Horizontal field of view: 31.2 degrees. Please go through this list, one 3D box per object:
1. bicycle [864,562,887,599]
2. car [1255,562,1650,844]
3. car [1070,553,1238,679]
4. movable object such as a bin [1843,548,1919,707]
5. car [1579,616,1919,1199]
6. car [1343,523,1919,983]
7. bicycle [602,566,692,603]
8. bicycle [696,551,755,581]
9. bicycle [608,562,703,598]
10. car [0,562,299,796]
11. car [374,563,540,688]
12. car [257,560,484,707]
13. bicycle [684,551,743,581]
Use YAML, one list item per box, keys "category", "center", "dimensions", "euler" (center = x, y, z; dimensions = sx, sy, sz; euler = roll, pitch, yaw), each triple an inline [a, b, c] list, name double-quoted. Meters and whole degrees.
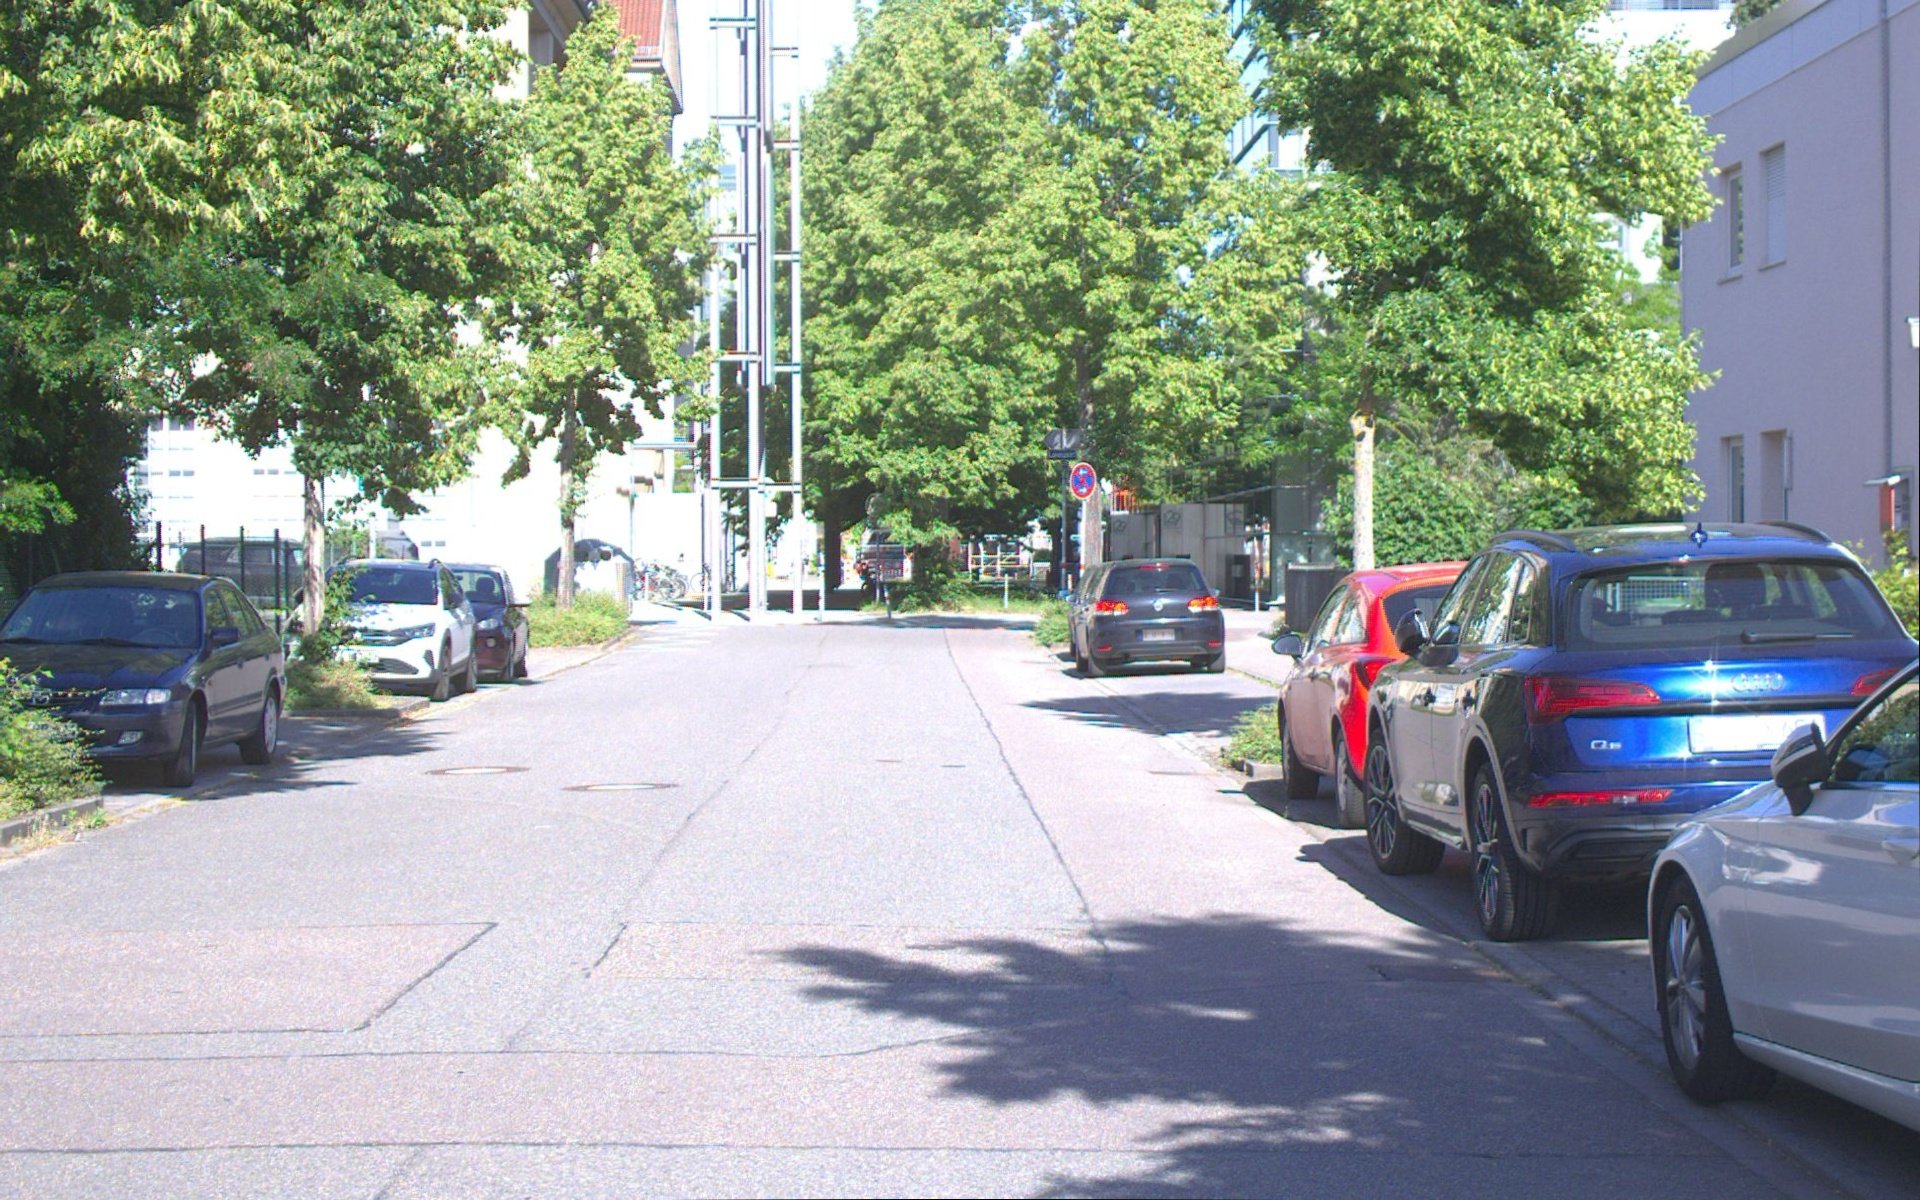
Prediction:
- category: "bicycle"
  center: [-2.842, -0.659, 115.796]
  dimensions: [0.619, 1.193, 2.132]
  euler: [0, 1, -6]
- category: "car"
  center: [2.851, 0.540, 20.655]
  dimensions: [1.675, 1.499, 3.847]
  euler: [-1, 1, -2]
- category: "car"
  center: [2.471, 0.169, 44.702]
  dimensions: [1.783, 1.511, 4.001]
  euler: [-1, 1, -2]
- category: "movable object such as a bin"
  center: [8.644, 0.219, 30.180]
  dimensions: [1.366, 1.353, 1.631]
  euler: [0, 1, 0]
- category: "car"
  center: [3.086, 0.737, 8.259]
  dimensions: [1.962, 1.315, 4.777]
  euler: [-3, 1, -4]
- category: "car"
  center: [2.914, 0.544, 15.105]
  dimensions: [1.900, 1.677, 4.411]
  euler: [-2, 1, 0]
- category: "bicycle"
  center: [-9.924, -0.491, 109.037]
  dimensions: [2.800, 1.147, 0.719]
  euler: [0, 1, -5]
- category: "bicycle"
  center: [-8.364, -1.216, 122.532]
  dimensions: [2.058, 1.062, 0.506]
  euler: [0, 1, 1]
- category: "bicycle"
  center: [-9.055, -0.591, 102.294]
  dimensions: [2.800, 1.059, 0.719]
  euler: [0, 1, -5]
- category: "car"
  center: [-6.042, 0.490, 24.574]
  dimensions: [1.840, 1.469, 4.360]
  euler: [2, 1, -1]
- category: "car"
  center: [-6.324, 0.289, 43.504]
  dimensions: [1.717, 1.469, 3.547]
  euler: [2, 1, -3]
- category: "car"
  center: [-6.386, 0.321, 37.629]
  dimensions: [1.840, 1.469, 4.002]
  euler: [2, 1, -1]
- category: "bicycle"
  center: [-8.724, -1.196, 121.861]
  dimensions: [2.058, 1.062, 0.506]
  euler: [0, 1, 1]
